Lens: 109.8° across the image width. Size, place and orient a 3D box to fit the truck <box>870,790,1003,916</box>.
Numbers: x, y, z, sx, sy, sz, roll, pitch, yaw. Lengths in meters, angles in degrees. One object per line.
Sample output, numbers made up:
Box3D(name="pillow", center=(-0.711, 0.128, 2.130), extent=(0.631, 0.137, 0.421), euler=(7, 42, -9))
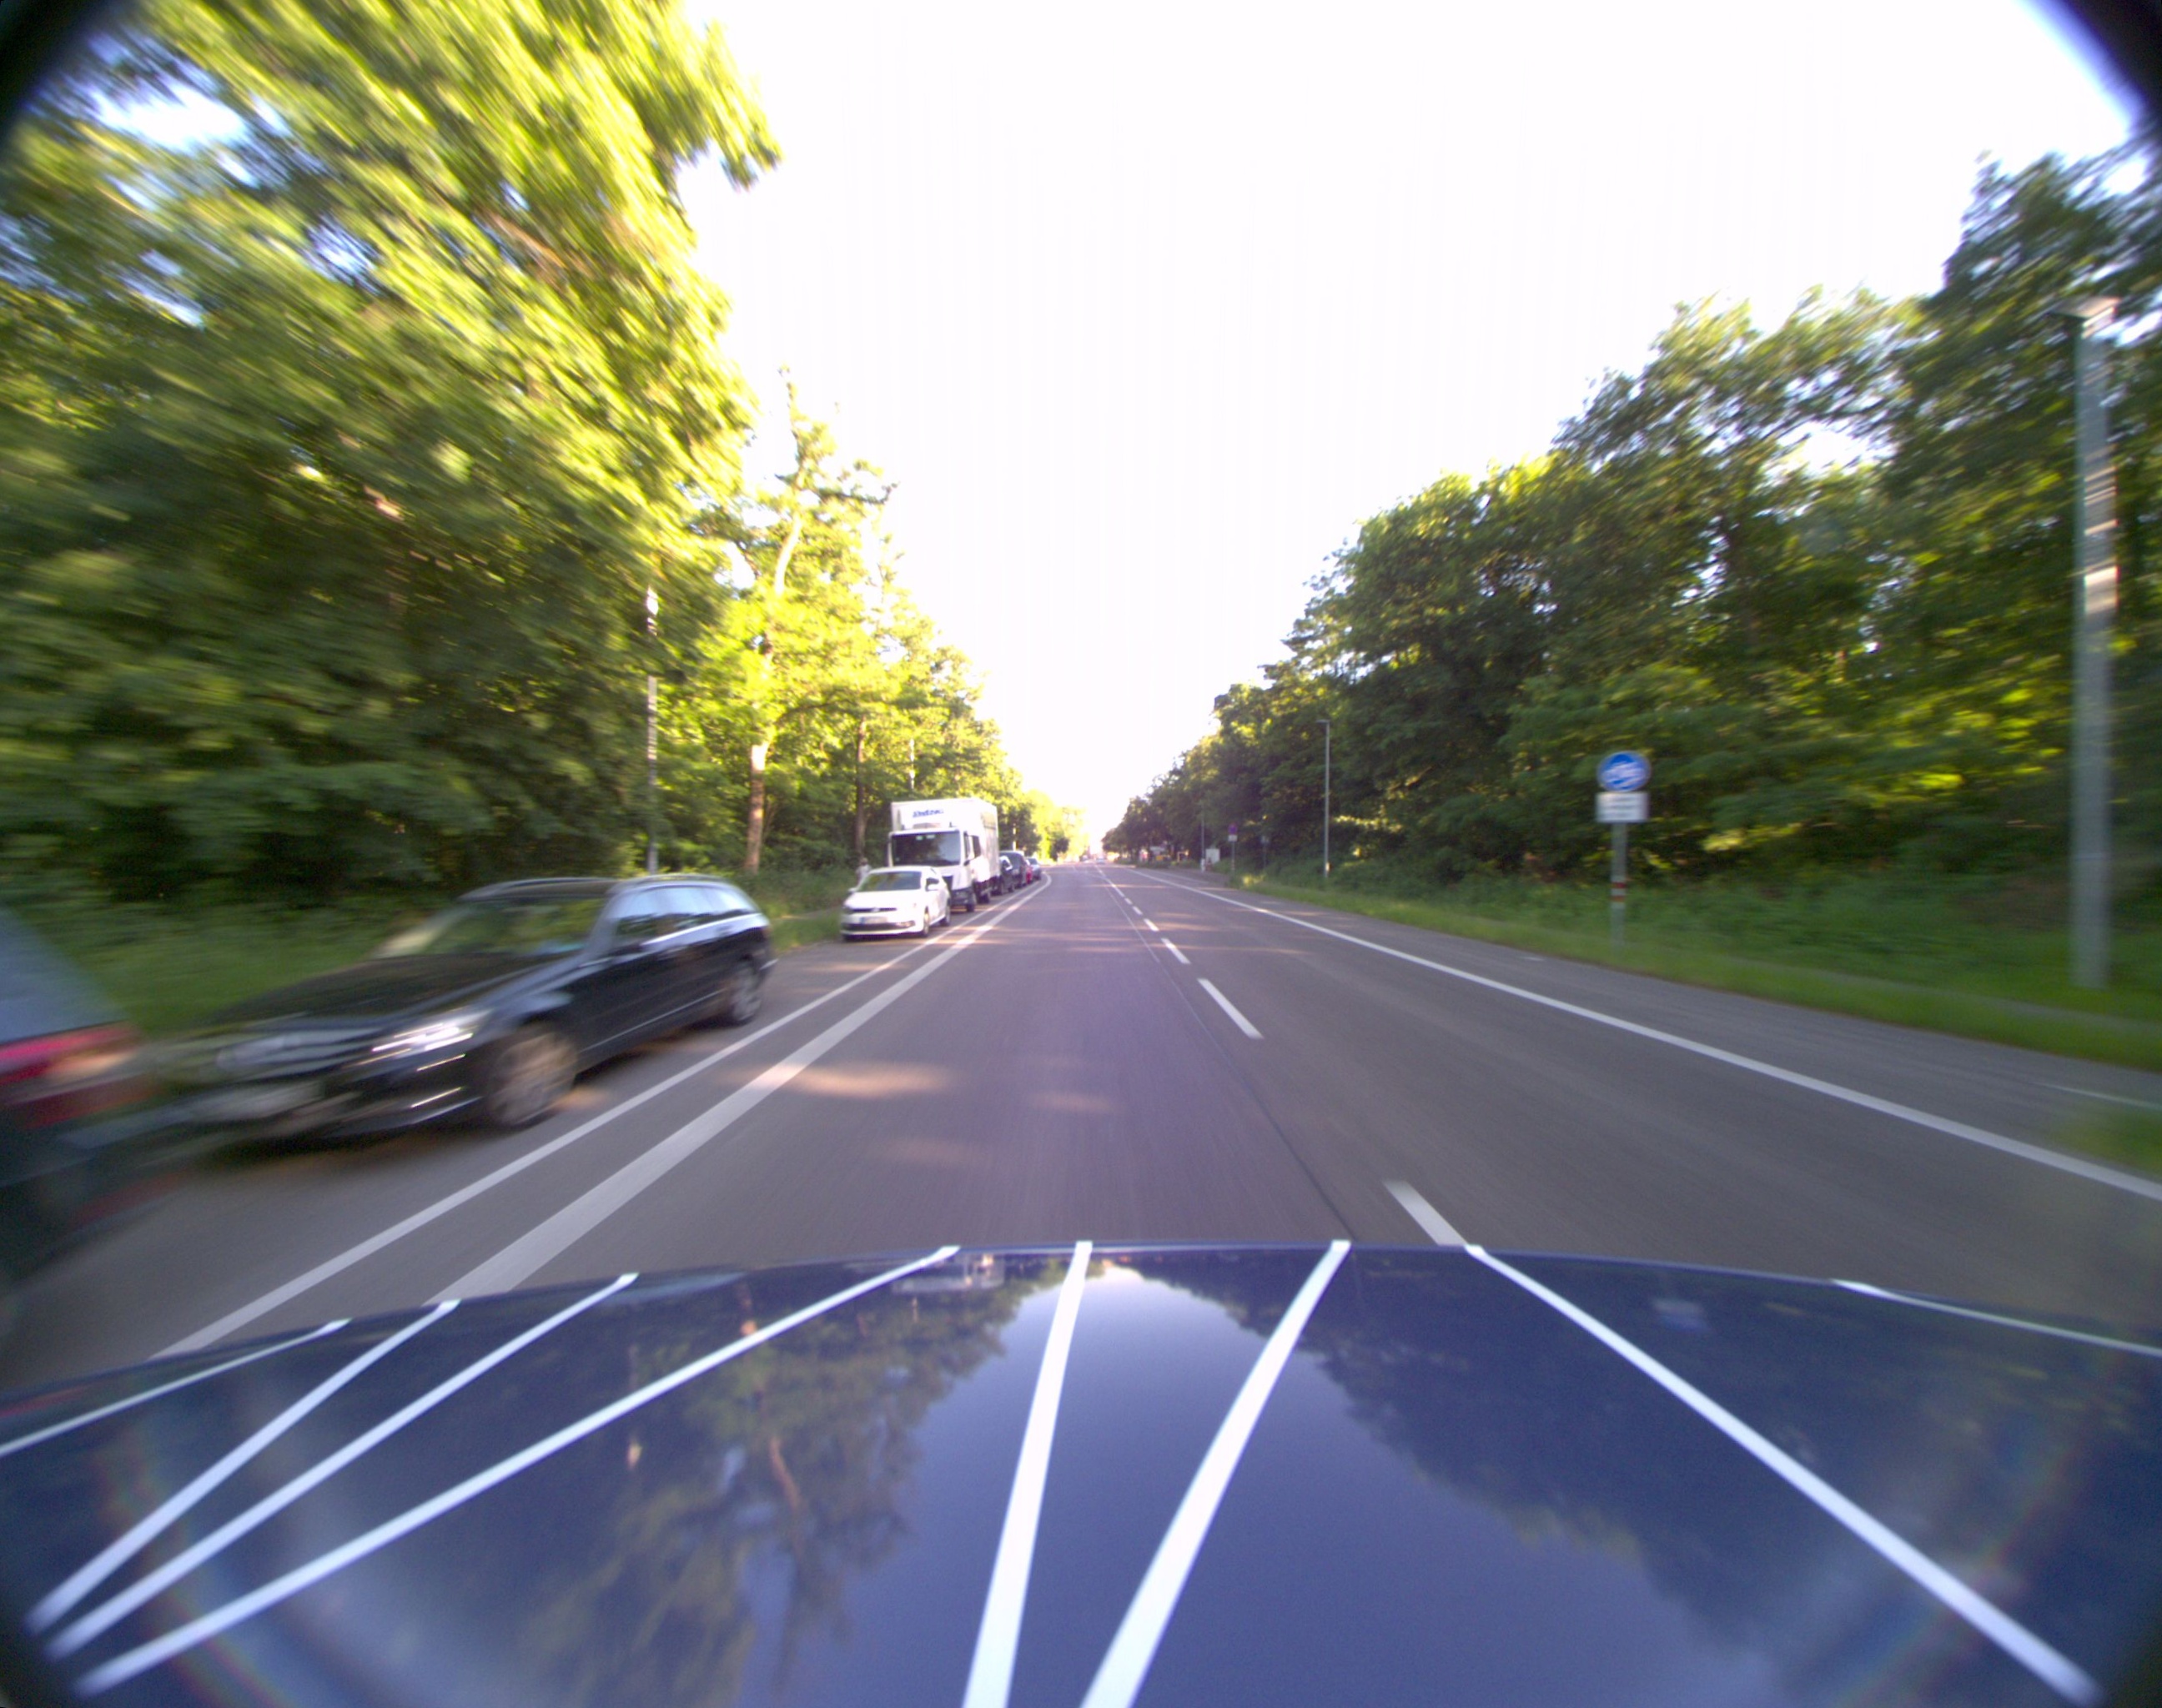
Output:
Box3D(name="truck", center=(-4.413, -0.037, 25.245), extent=(2.840, 3.477, 8.577), euler=(0, 0, 0))

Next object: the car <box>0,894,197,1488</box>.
Box3D(name="car", center=(-4.001, 1.006, 0.352), extent=(1.716, 1.655, 4.551), euler=(-2, 0, 2))

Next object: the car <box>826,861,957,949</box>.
Box3D(name="car", center=(-3.893, 0.977, 16.282), extent=(1.716, 1.559, 4.000), euler=(-2, 0, 0))

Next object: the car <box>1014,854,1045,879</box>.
Box3D(name="car", center=(-3.522, 0.833, 52.538), extent=(1.803, 1.585, 4.029), euler=(0, 0, 1))

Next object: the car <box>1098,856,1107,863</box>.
Box3D(name="car", center=(4.849, 1.210, 170.469), extent=(1.830, 1.517, 3.943), euler=(0, 0, -2))

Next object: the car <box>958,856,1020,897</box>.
Box3D(name="car", center=(-3.935, 0.933, 33.119), extent=(1.802, 1.647, 4.030), euler=(0, 0, 6))

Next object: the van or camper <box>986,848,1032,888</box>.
Box3D(name="van or camper", center=(-3.751, 0.710, 40.195), extent=(1.902, 2.002, 4.586), euler=(0, 0, 1))

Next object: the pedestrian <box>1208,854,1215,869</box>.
Box3D(name="pedestrian", center=(13.794, 0.772, 80.079), extent=(0.676, 1.644, 0.790), euler=(0, 1, 5))

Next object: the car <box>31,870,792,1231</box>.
Box3D(name="car", center=(-4.063, 0.992, 5.895), extent=(1.716, 1.559, 4.551), euler=(-2, 0, 2))

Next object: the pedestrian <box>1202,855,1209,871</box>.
Box3D(name="pedestrian", center=(13.112, 0.964, 80.206), extent=(0.676, 1.644, 0.790), euler=(0, 1, 5))
